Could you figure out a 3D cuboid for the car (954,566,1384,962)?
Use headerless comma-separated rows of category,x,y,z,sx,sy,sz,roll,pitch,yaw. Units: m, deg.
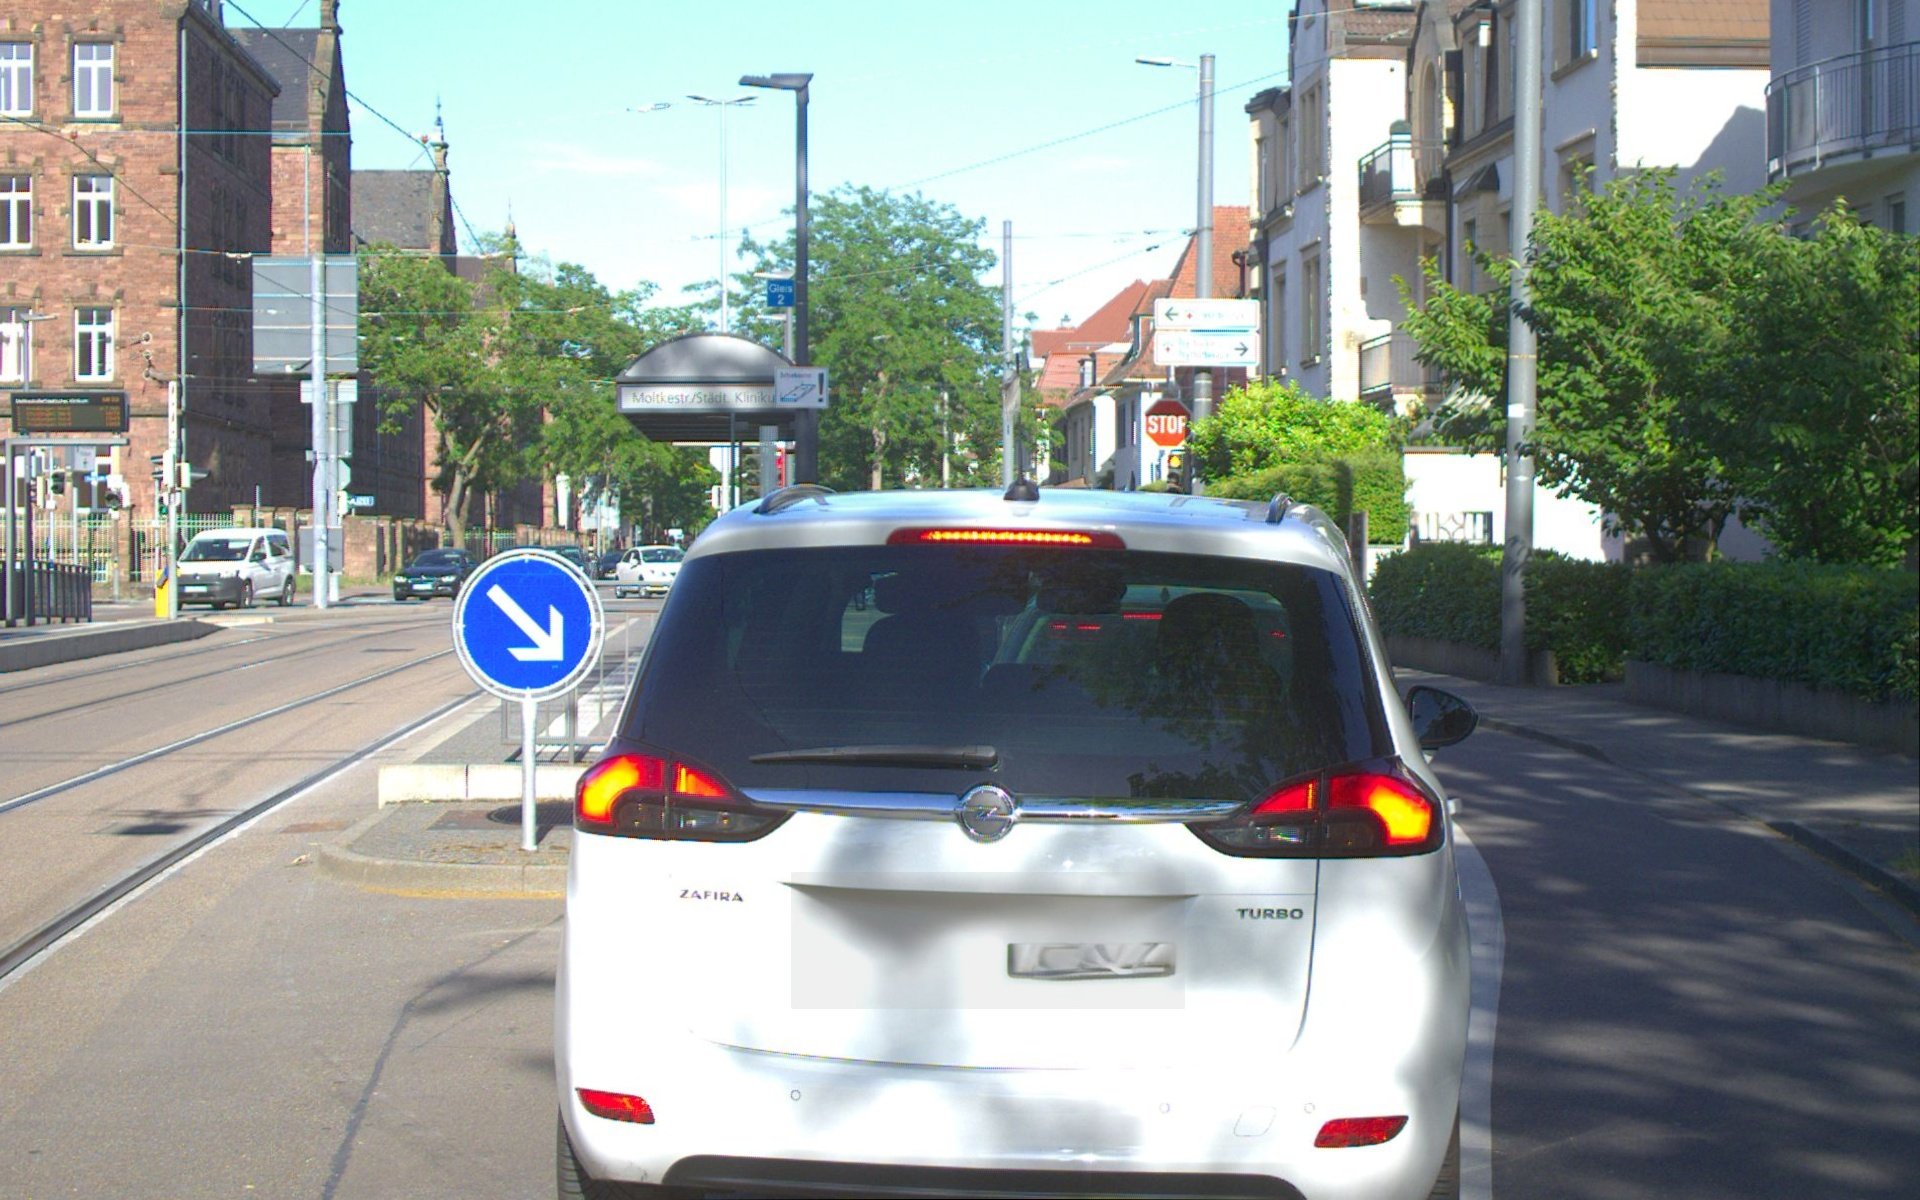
car,0.944,0.594,14.788,1.569,1.396,3.783,2,1,5

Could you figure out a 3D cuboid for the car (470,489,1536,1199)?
car,0.234,0.568,8.093,1.878,1.579,3.999,1,1,5

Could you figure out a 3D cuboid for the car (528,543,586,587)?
car,-13.717,-1.169,117.140,1.826,1.441,4.328,0,0,-5

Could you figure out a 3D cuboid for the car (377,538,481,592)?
car,-14.256,-0.952,92.525,1.798,1.377,4.495,0,1,4

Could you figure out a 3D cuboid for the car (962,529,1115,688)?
car,0.872,0.050,40.049,1.596,1.629,3.902,2,2,-1

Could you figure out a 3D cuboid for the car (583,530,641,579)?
car,-14.697,-1.929,145.221,1.993,2.007,4.000,0,1,1

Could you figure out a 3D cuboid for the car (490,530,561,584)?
car,-13.425,-1.313,106.365,1.827,1.611,4.328,0,0,-2

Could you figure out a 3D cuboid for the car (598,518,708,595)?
car,-8.290,-1.187,92.499,1.993,2.007,4.001,0,1,-20

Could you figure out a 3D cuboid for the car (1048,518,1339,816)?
car,1.463,0.335,21.037,1.569,1.609,3.783,2,1,5

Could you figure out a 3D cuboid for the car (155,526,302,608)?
car,-16.221,-0.754,76.418,1.827,1.782,4.254,0,1,8

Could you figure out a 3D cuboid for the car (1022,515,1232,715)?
car,1.441,0.091,30.944,1.596,1.629,3.901,2,1,-1
